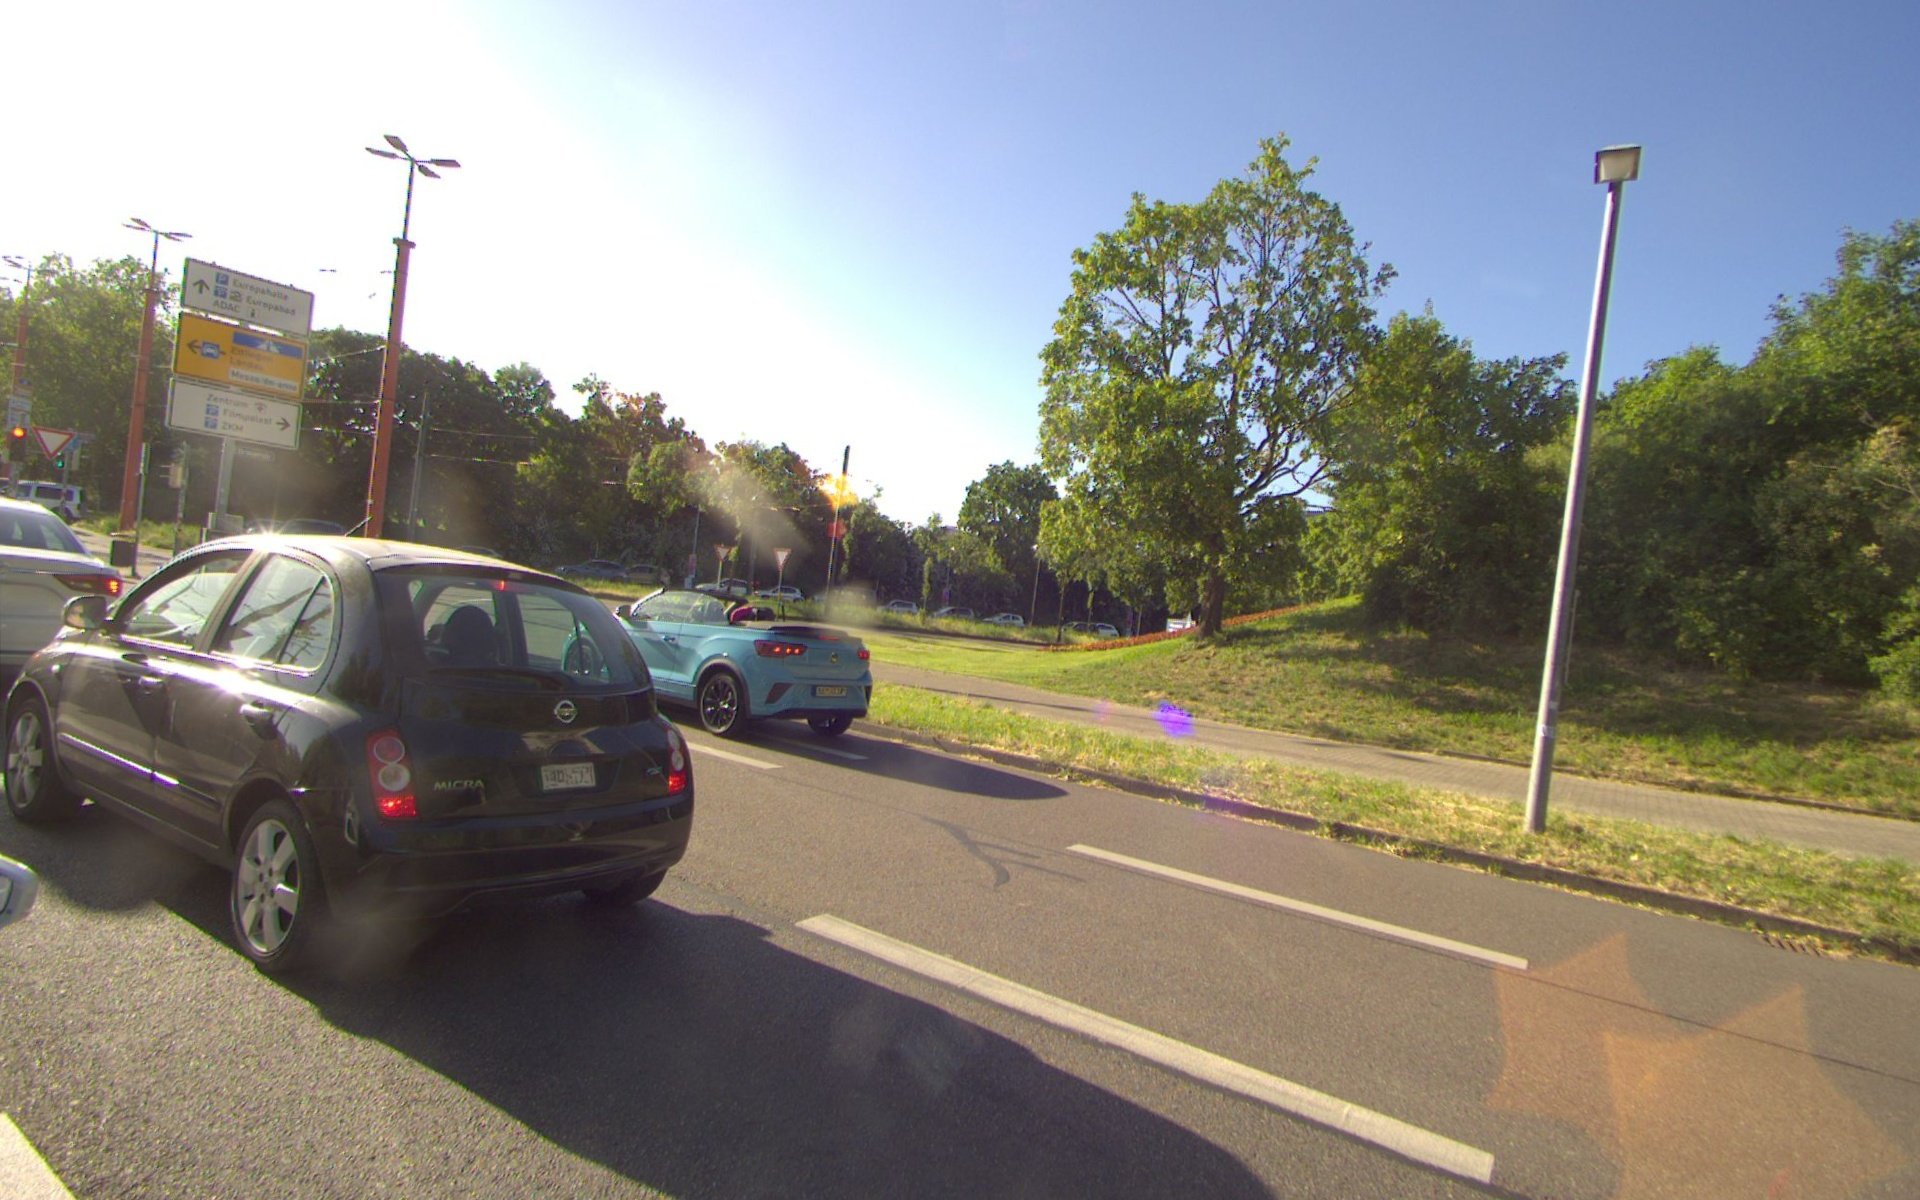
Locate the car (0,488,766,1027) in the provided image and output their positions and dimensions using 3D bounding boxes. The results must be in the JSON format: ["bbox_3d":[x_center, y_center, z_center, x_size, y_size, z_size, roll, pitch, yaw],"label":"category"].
[{"bbox_3d":[-2.881,0.456,4.731,3.555,1.518,1.657,7,-2,32],"label":"car"}]

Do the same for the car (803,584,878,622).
[{"bbox_3d":[-8.176,0.202,69.040,4.531,2.038,1.987,8,0,-27],"label":"car"}]

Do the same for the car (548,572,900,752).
[{"bbox_3d":[-2.861,0.646,11.757,4.070,1.468,1.733,7,0,38],"label":"car"}]

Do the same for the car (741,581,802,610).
[{"bbox_3d":[-13.053,-0.279,69.562,3.710,1.491,1.587,8,-1,-32],"label":"car"}]

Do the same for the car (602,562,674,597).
[{"bbox_3d":[-21.017,-1.338,65.660,4.088,1.663,1.839,8,-1,-30],"label":"car"}]

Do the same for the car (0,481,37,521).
[{"bbox_3d":[-47.379,-5.013,48.675,3.620,1.674,1.666,9,-2,-33],"label":"car"}]

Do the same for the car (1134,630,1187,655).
[{"bbox_3d":[16.493,3.500,82.539,3.959,1.466,1.801,9,-2,-30],"label":"car"}]

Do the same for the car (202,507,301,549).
[{"bbox_3d":[-38.113,-3.846,54.254,4.095,1.528,1.808,9,-2,-32],"label":"car"}]

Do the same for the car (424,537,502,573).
[{"bbox_3d":[-29.364,-2.618,59.452,3.937,1.457,1.674,9,-2,-31],"label":"car"}]

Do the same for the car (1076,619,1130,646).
[{"bbox_3d":[11.973,2.736,84.367,4.195,1.701,1.690,8,-1,-29],"label":"car"}]

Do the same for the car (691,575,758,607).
[{"bbox_3d":[-15.162,-0.573,64.727,3.790,1.541,1.682,8,-1,-30],"label":"car"}]

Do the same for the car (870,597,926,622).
[{"bbox_3d":[-4.598,0.702,74.979,3.804,1.278,1.590,9,-3,-32],"label":"car"}]

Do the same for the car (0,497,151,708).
[{"bbox_3d":[-8.401,-0.185,8.049,4.130,1.454,1.723,7,-1,33],"label":"car"}]

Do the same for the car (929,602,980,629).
[{"bbox_3d":[-0.391,1.145,73.665,3.369,1.475,1.453,8,-1,-31],"label":"car"}]

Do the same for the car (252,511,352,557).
[{"bbox_3d":[-34.490,-3.430,52.880,4.152,1.663,1.745,9,-2,-32],"label":"car"}]

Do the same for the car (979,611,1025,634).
[{"bbox_3d":[3.310,1.792,79.414,3.413,1.384,1.280,9,-2,-31],"label":"car"}]

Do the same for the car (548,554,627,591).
[{"bbox_3d":[-22.345,-1.660,60.413,4.089,1.617,1.814,8,-1,-31],"label":"car"}]

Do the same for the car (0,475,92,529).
[{"bbox_3d":[-43.566,-4.641,47.325,3.812,1.911,1.747,9,-2,-36],"label":"car"}]
